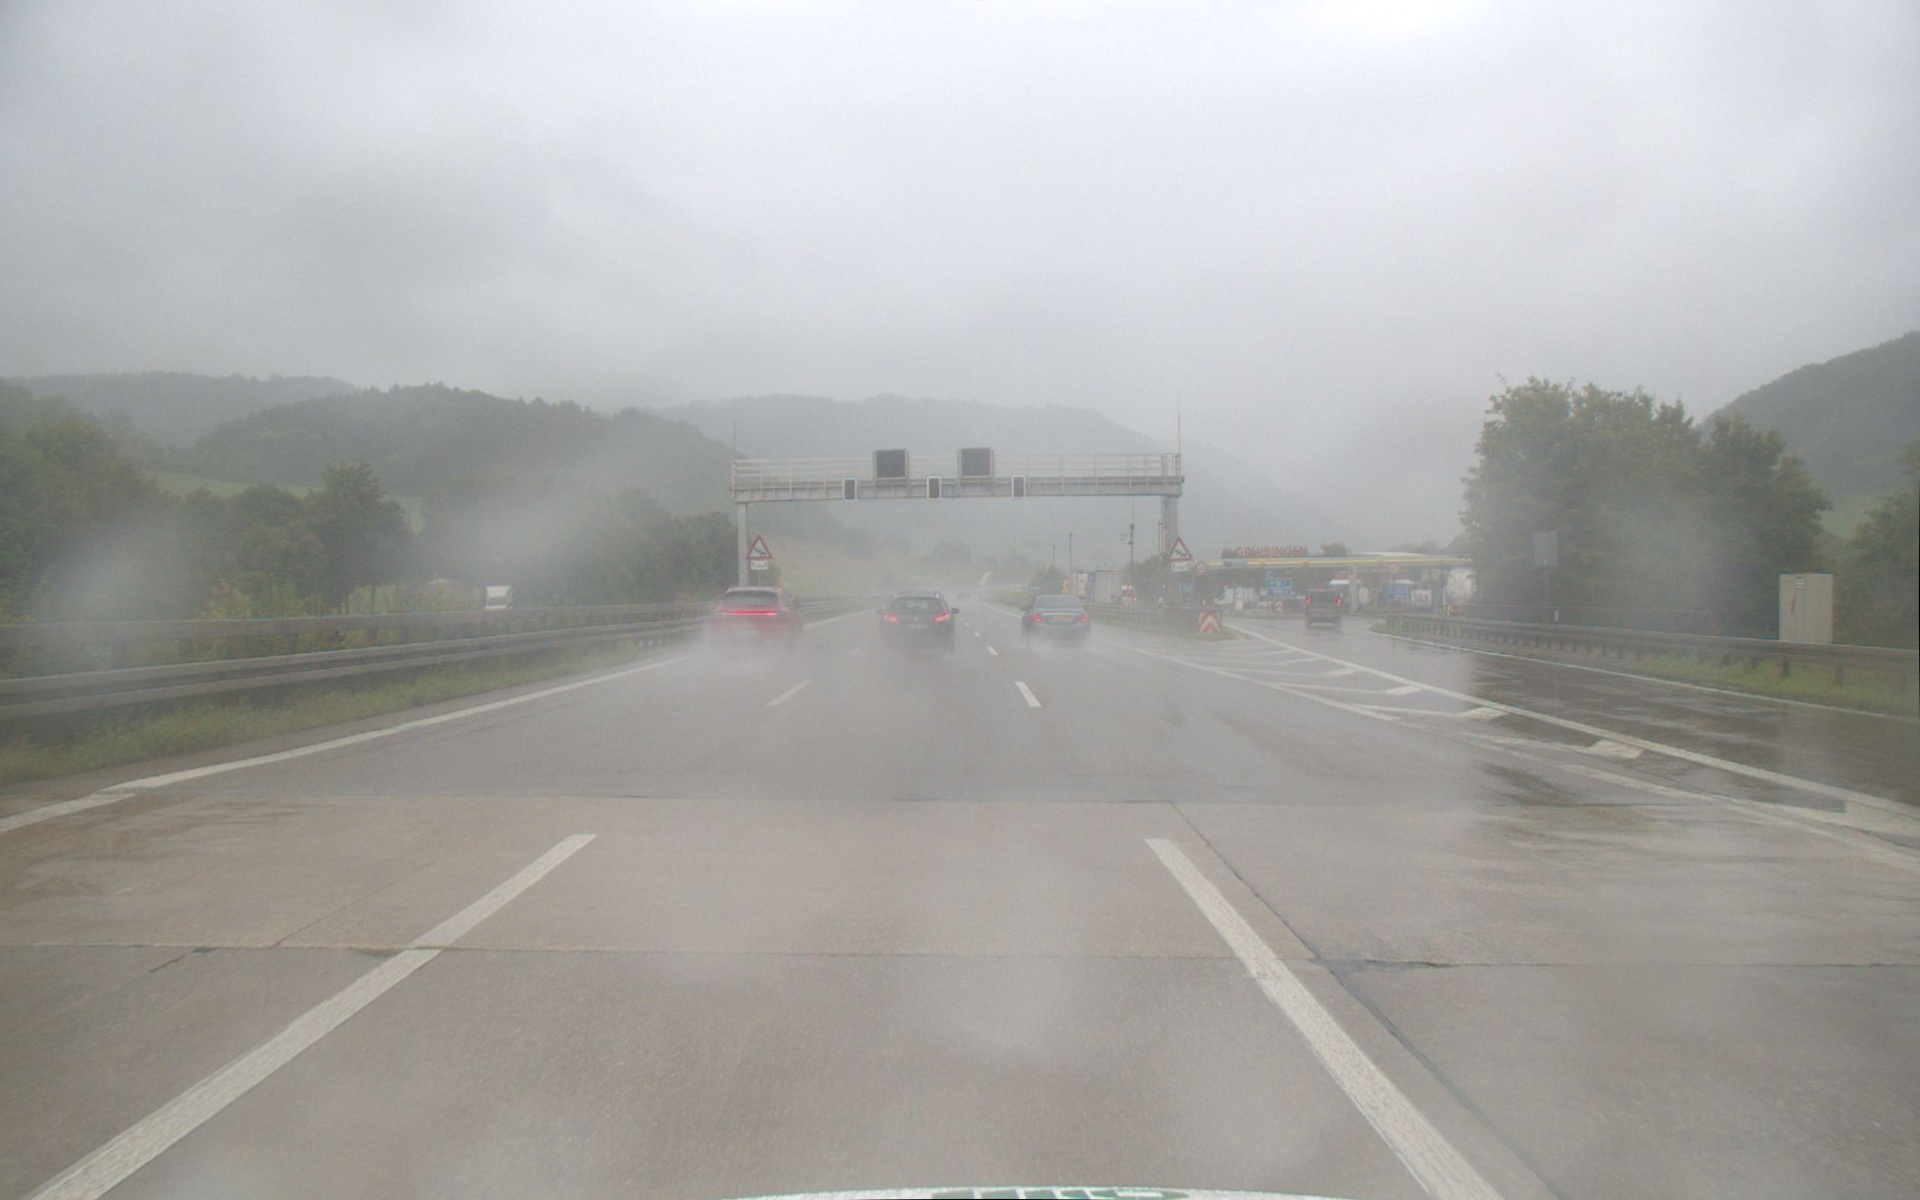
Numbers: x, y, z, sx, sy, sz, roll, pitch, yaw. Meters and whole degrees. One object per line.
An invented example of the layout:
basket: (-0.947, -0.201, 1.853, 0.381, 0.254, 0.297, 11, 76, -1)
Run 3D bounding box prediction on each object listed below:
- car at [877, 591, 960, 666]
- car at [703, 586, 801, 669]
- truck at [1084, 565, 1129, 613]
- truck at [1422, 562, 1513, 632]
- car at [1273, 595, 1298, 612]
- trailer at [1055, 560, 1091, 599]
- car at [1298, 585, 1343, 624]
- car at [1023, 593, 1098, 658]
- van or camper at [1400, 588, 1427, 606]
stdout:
car: (-0.929, 0.637, 38.881, 1.821, 1.617, 4.000, 1, 0, 0)
car: (-4.812, 0.596, 38.761, 1.846, 1.847, 3.999, 0, 0, -1)
truck: (14.387, -1.056, 163.489, 3.331, 4.479, 11.048, 2, 0, 0)
truck: (33.500, -0.135, 108.853, 2.818, 4.331, 11.843, 1, 0, 31)
car: (39.437, 0.409, 200.315, 1.953, 2.049, 4.900, 1, 0, -1)
trailer: (13.174, -2.322, 193.534, 3.444, 4.336, 11.920, 1, 0, 0)
car: (19.297, 0.225, 88.653, 1.951, 2.049, 5.059, 1, 0, 8)
car: (2.872, 0.707, 48.048, 1.931, 1.791, 4.000, 1, 0, 0)
van or camper: (52.655, -0.381, 192.239, 1.953, 2.049, 3.999, 1, 0, -1)
